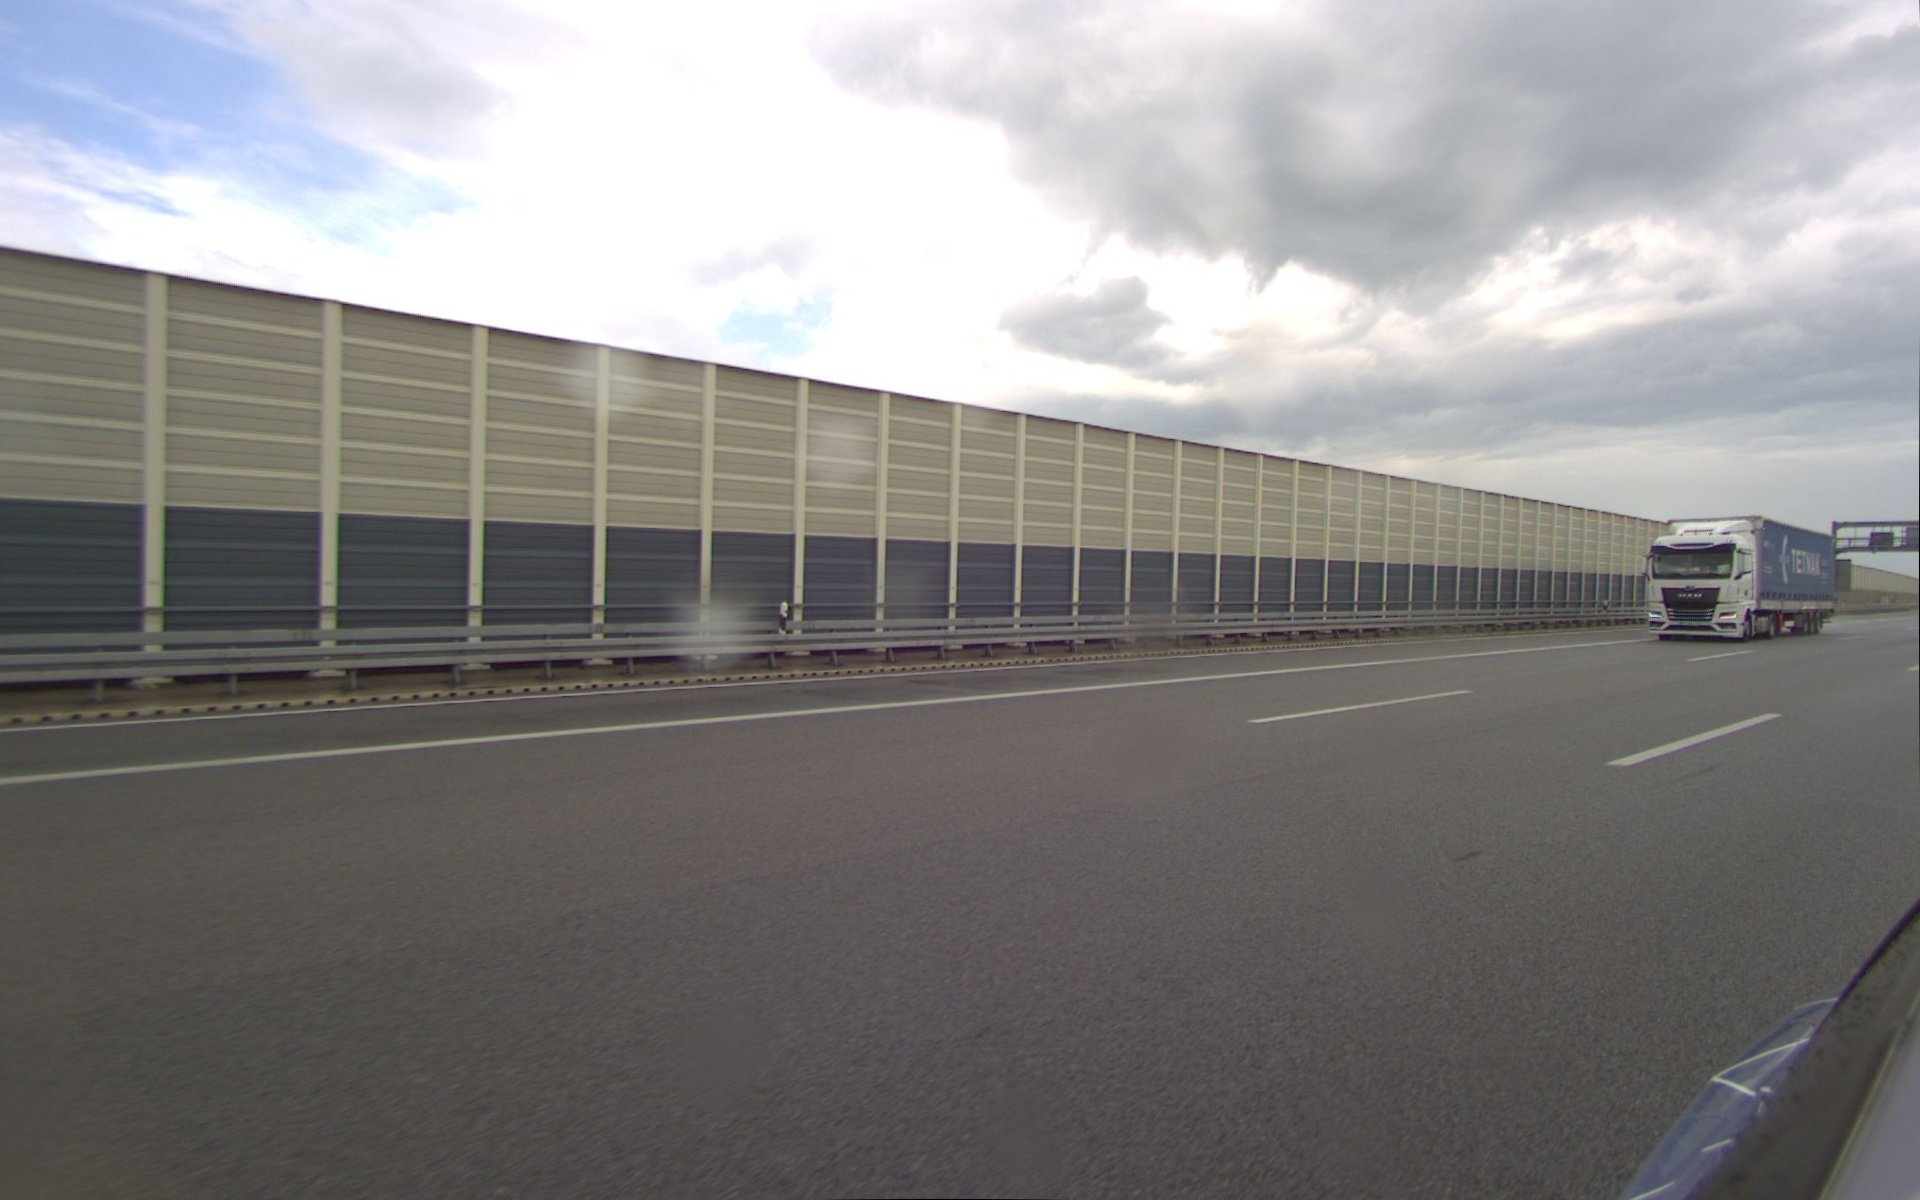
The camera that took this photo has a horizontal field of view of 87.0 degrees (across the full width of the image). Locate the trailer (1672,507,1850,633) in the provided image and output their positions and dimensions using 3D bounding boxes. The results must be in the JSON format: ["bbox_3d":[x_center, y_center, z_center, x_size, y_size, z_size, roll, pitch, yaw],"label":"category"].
[{"bbox_3d":[30.827,-1.001,38.539,14.199,4.082,2.766,0,0,-41],"label":"trailer"}]

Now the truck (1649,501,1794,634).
[{"bbox_3d":[25.607,-1.010,33.957,5.625,4.085,2.750,0,0,-41],"label":"truck"}]
